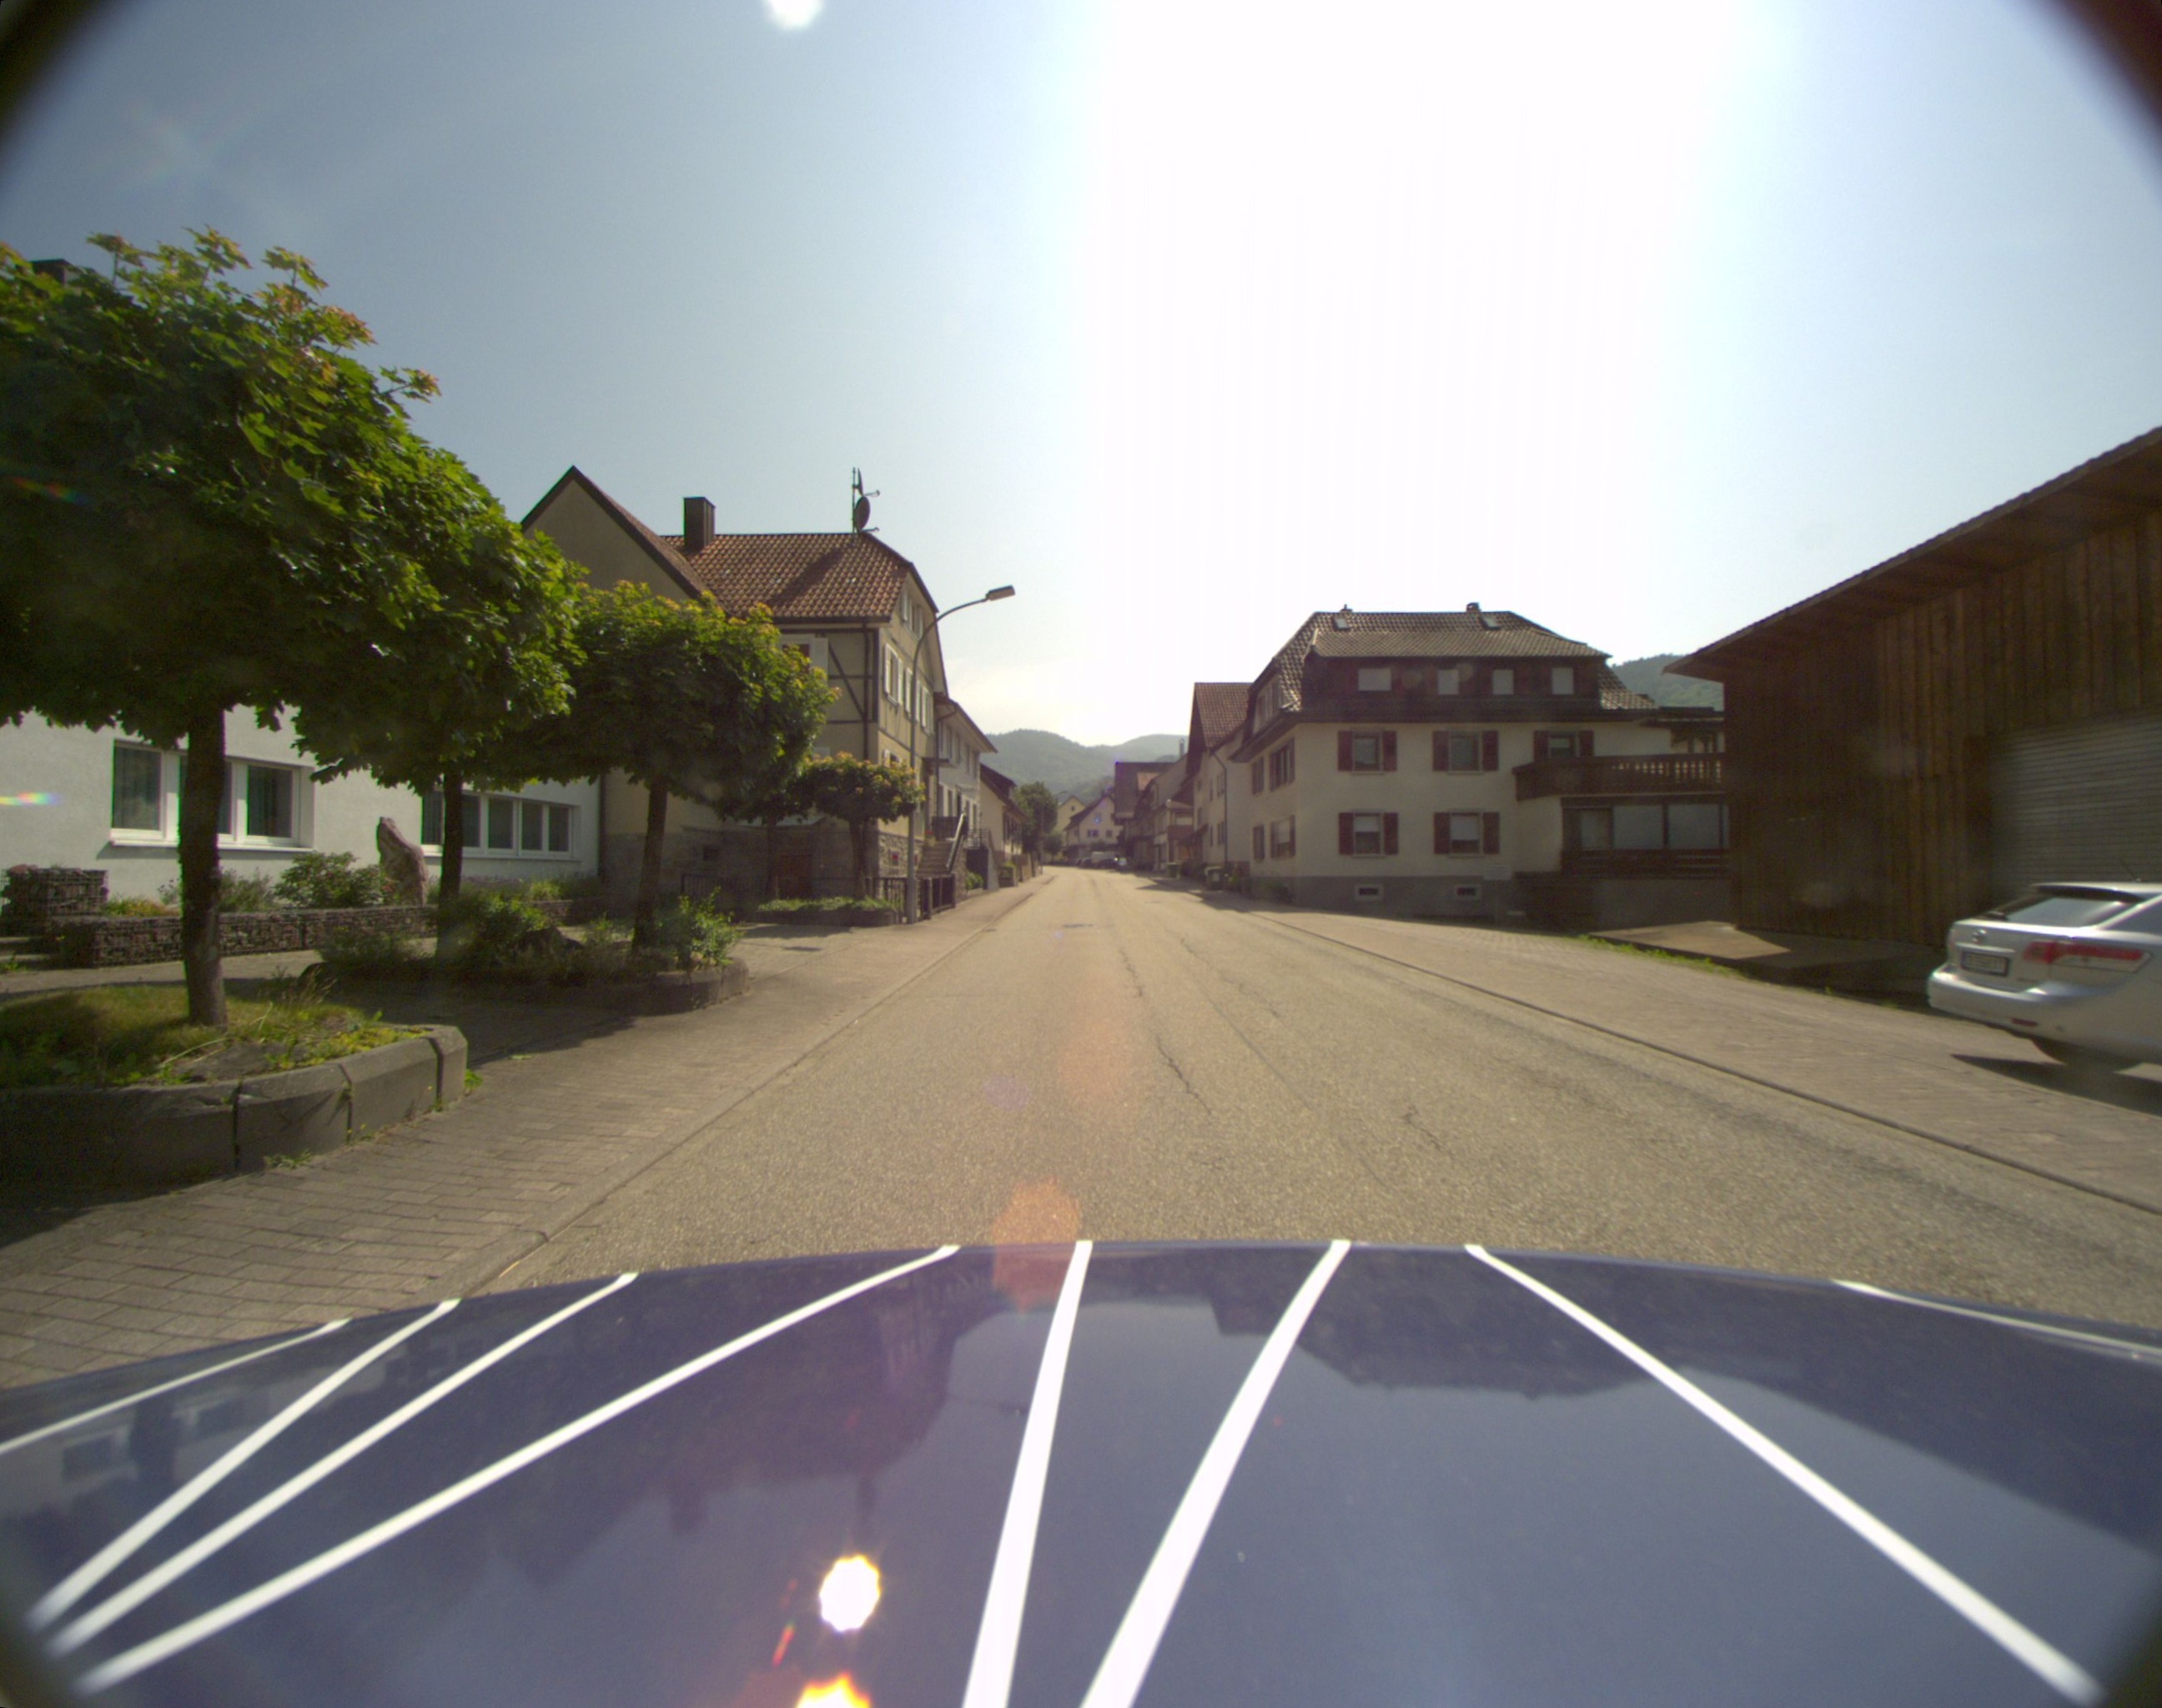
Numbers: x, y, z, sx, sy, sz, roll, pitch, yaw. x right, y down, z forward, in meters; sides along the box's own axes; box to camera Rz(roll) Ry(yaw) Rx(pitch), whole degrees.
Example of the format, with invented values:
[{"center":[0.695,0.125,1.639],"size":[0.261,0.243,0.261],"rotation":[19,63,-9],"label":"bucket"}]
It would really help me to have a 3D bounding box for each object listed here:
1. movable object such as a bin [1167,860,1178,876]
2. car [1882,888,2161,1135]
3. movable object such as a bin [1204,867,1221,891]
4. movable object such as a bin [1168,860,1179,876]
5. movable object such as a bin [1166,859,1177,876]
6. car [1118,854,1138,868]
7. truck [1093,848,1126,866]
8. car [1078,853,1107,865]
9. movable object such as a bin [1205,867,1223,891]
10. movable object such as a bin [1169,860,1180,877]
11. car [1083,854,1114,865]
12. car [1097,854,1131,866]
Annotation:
[{"center":[6.690,1.003,55.643],"size":[0.719,1.174,0.598],"rotation":[1,0,1],"label":"movable object such as a bin"},{"center":[8.701,1.135,4.880],"size":[4.431,1.466,1.928],"rotation":[4,1,26],"label":"car"},{"center":[6.134,1.166,35.489],"size":[0.677,1.060,0.653],"rotation":[0,1,-1],"label":"movable object such as a bin"},{"center":[6.702,1.009,54.991],"size":[0.719,1.174,0.598],"rotation":[1,0,1],"label":"movable object such as a bin"},{"center":[6.706,0.997,56.303],"size":[0.719,1.174,0.598],"rotation":[1,0,1],"label":"movable object such as a bin"},{"center":[5.369,0.815,87.248],"size":[1.775,1.544,4.284],"rotation":[-1,0,-3],"label":"car"},{"center":[3.714,0.348,99.649],"size":[4.178,2.253,1.999],"rotation":[-1,0,-5],"label":"truck"},{"center":[1.590,0.756,106.673],"size":[3.996,1.563,1.577],"rotation":[1,0,2],"label":"car"},{"center":[6.014,1.129,34.427],"size":[0.677,1.060,0.621],"rotation":[0,1,-1],"label":"movable object such as a bin"},{"center":[6.700,1.015,54.334],"size":[0.719,1.174,0.598],"rotation":[1,0,1],"label":"movable object such as a bin"},{"center":[2.338,0.782,103.472],"size":[3.999,1.444,1.627],"rotation":[1,0,-4],"label":"car"},{"center":[4.060,0.732,94.710],"size":[4.106,1.494,1.753],"rotation":[0,0,-2],"label":"car"}]
